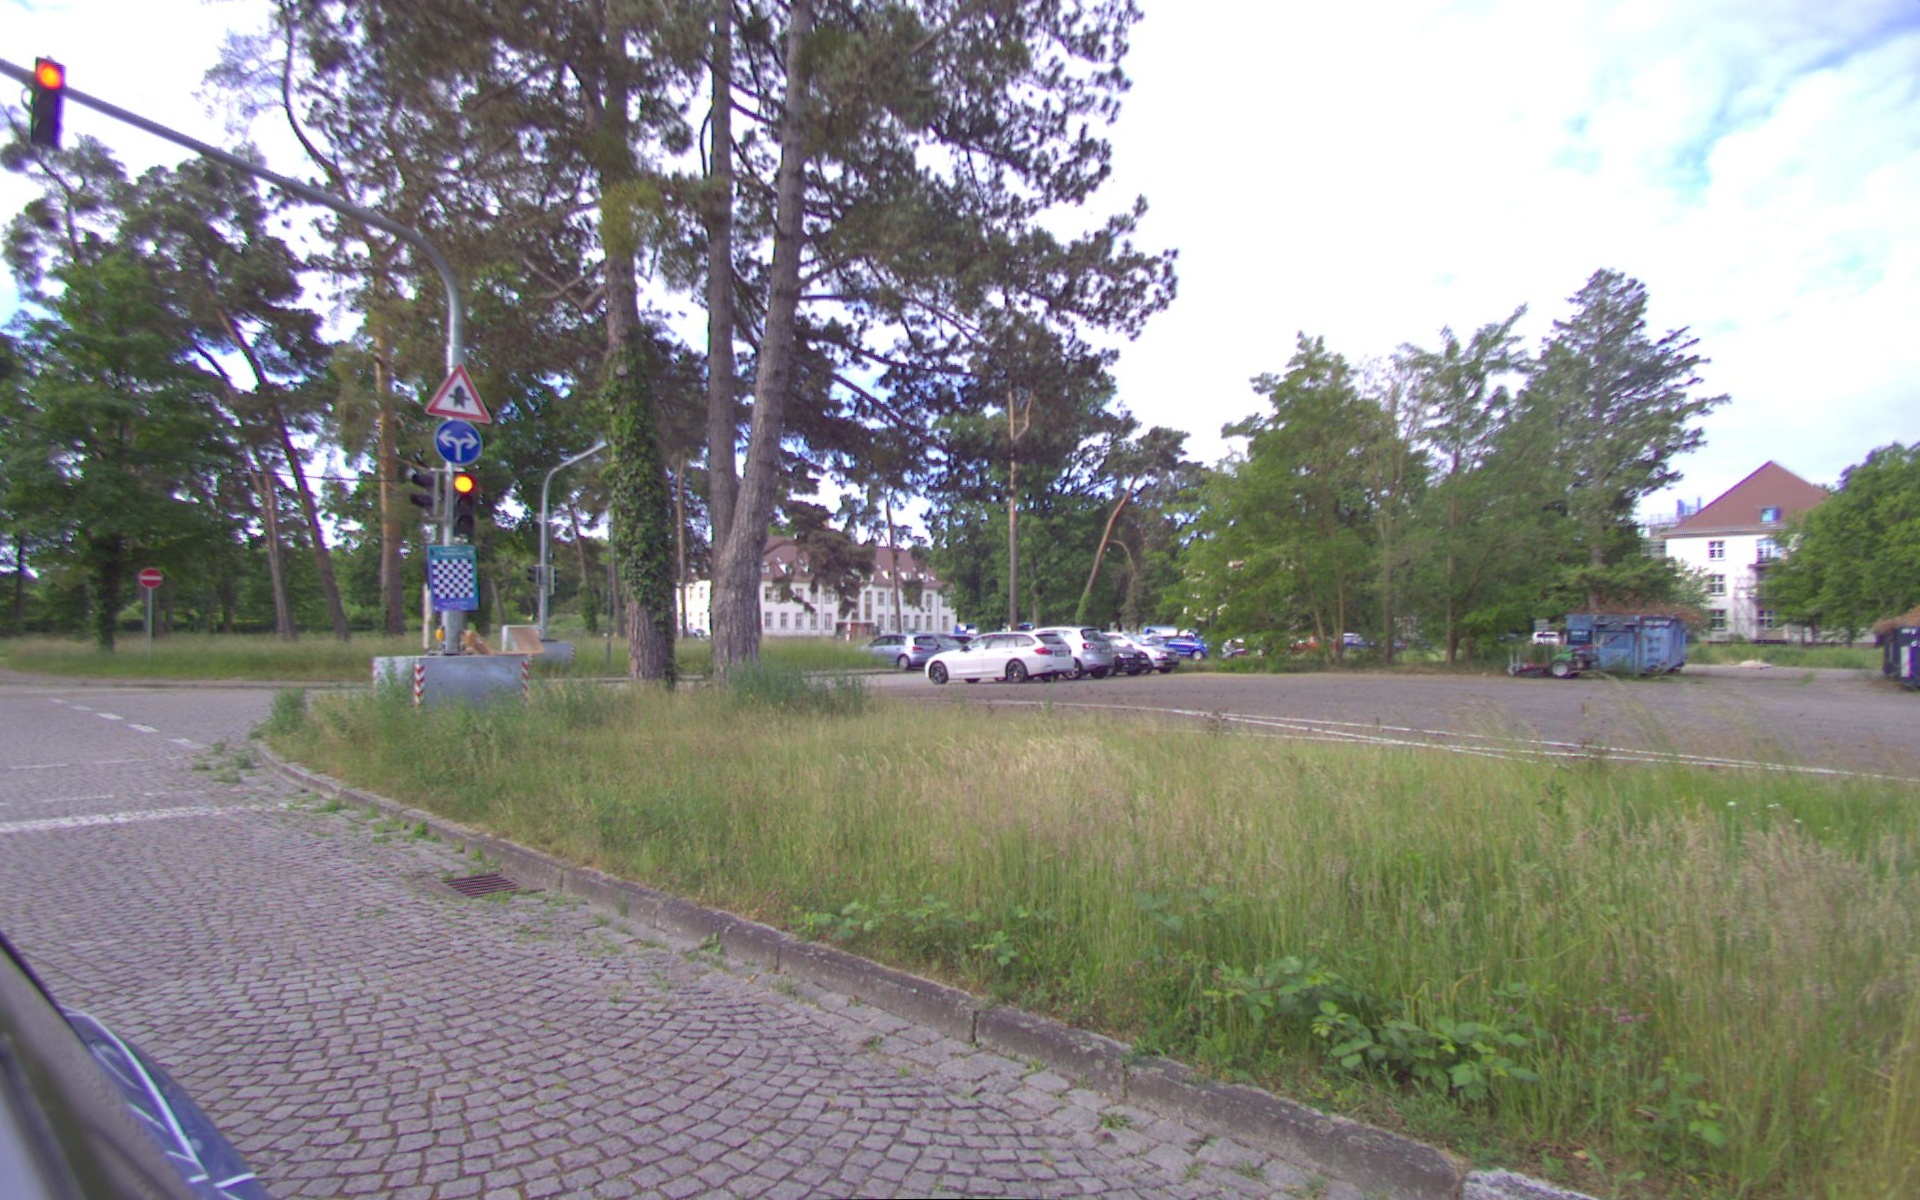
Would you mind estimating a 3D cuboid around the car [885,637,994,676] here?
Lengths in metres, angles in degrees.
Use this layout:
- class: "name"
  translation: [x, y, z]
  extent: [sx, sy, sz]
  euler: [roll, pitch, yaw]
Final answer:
- class: "car"
  translation: [-0.925, 2.438, 43.341]
  extent: [4.579, 1.533, 1.817]
  euler: [-4, -4, 39]

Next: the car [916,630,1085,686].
- class: "car"
  translation: [1.084, 1.674, 28.730]
  extent: [4.650, 1.461, 1.817]
  euler: [-4, -4, 39]

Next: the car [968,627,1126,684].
- class: "car"
  translation: [2.588, 1.717, 30.837]
  extent: [4.579, 1.590, 1.817]
  euler: [-4, -4, 39]

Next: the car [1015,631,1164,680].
- class: "car"
  translation: [4.140, 1.825, 32.953]
  extent: [4.583, 1.480, 1.815]
  euler: [-4, -4, 42]

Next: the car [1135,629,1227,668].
- class: "car"
  translation: [12.842, 2.858, 58.996]
  extent: [4.978, 2.113, 1.816]
  euler: [-4, -4, 41]

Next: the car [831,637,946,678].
- class: "car"
  translation: [-2.986, 2.358, 41.577]
  extent: [4.572, 1.559, 1.820]
  euler: [-4, -4, 34]

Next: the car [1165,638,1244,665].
- class: "car"
  translation: [14.680, 3.115, 60.865]
  extent: [4.283, 1.533, 1.727]
  euler: [-4, -4, 39]

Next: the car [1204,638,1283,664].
- class: "car"
  translation: [18.408, 3.316, 65.827]
  extent: [4.579, 1.533, 1.817]
  euler: [-4, -4, 39]

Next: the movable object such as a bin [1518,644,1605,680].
- class: "movable object such as a bin"
  translation: [16.207, 1.664, 27.288]
  extent: [1.931, 0.940, 1.029]
  euler: [-2, -3, 35]

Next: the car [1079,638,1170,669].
- class: "car"
  translation: [8.957, 2.947, 55.381]
  extent: [4.579, 1.586, 1.817]
  euler: [-4, -4, 39]

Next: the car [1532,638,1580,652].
- class: "car"
  translation: [69.329, 5.212, 117.757]
  extent: [4.580, 1.645, 1.817]
  euler: [-2, -3, 39]

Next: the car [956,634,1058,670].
- class: "car"
  translation: [2.152, 2.456, 47.292]
  extent: [4.579, 1.571, 1.817]
  euler: [-4, -4, 39]

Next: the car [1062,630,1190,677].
- class: "car"
  translation: [5.714, 1.881, 35.182]
  extent: [4.112, 1.533, 1.714]
  euler: [-4, -4, 42]

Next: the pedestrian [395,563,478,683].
- class: "pedestrian"
  translation: [-6.977, 0.314, 13.486]
  extent: [0.869, 1.529, 0.824]
  euler: [1, -3, -34]
